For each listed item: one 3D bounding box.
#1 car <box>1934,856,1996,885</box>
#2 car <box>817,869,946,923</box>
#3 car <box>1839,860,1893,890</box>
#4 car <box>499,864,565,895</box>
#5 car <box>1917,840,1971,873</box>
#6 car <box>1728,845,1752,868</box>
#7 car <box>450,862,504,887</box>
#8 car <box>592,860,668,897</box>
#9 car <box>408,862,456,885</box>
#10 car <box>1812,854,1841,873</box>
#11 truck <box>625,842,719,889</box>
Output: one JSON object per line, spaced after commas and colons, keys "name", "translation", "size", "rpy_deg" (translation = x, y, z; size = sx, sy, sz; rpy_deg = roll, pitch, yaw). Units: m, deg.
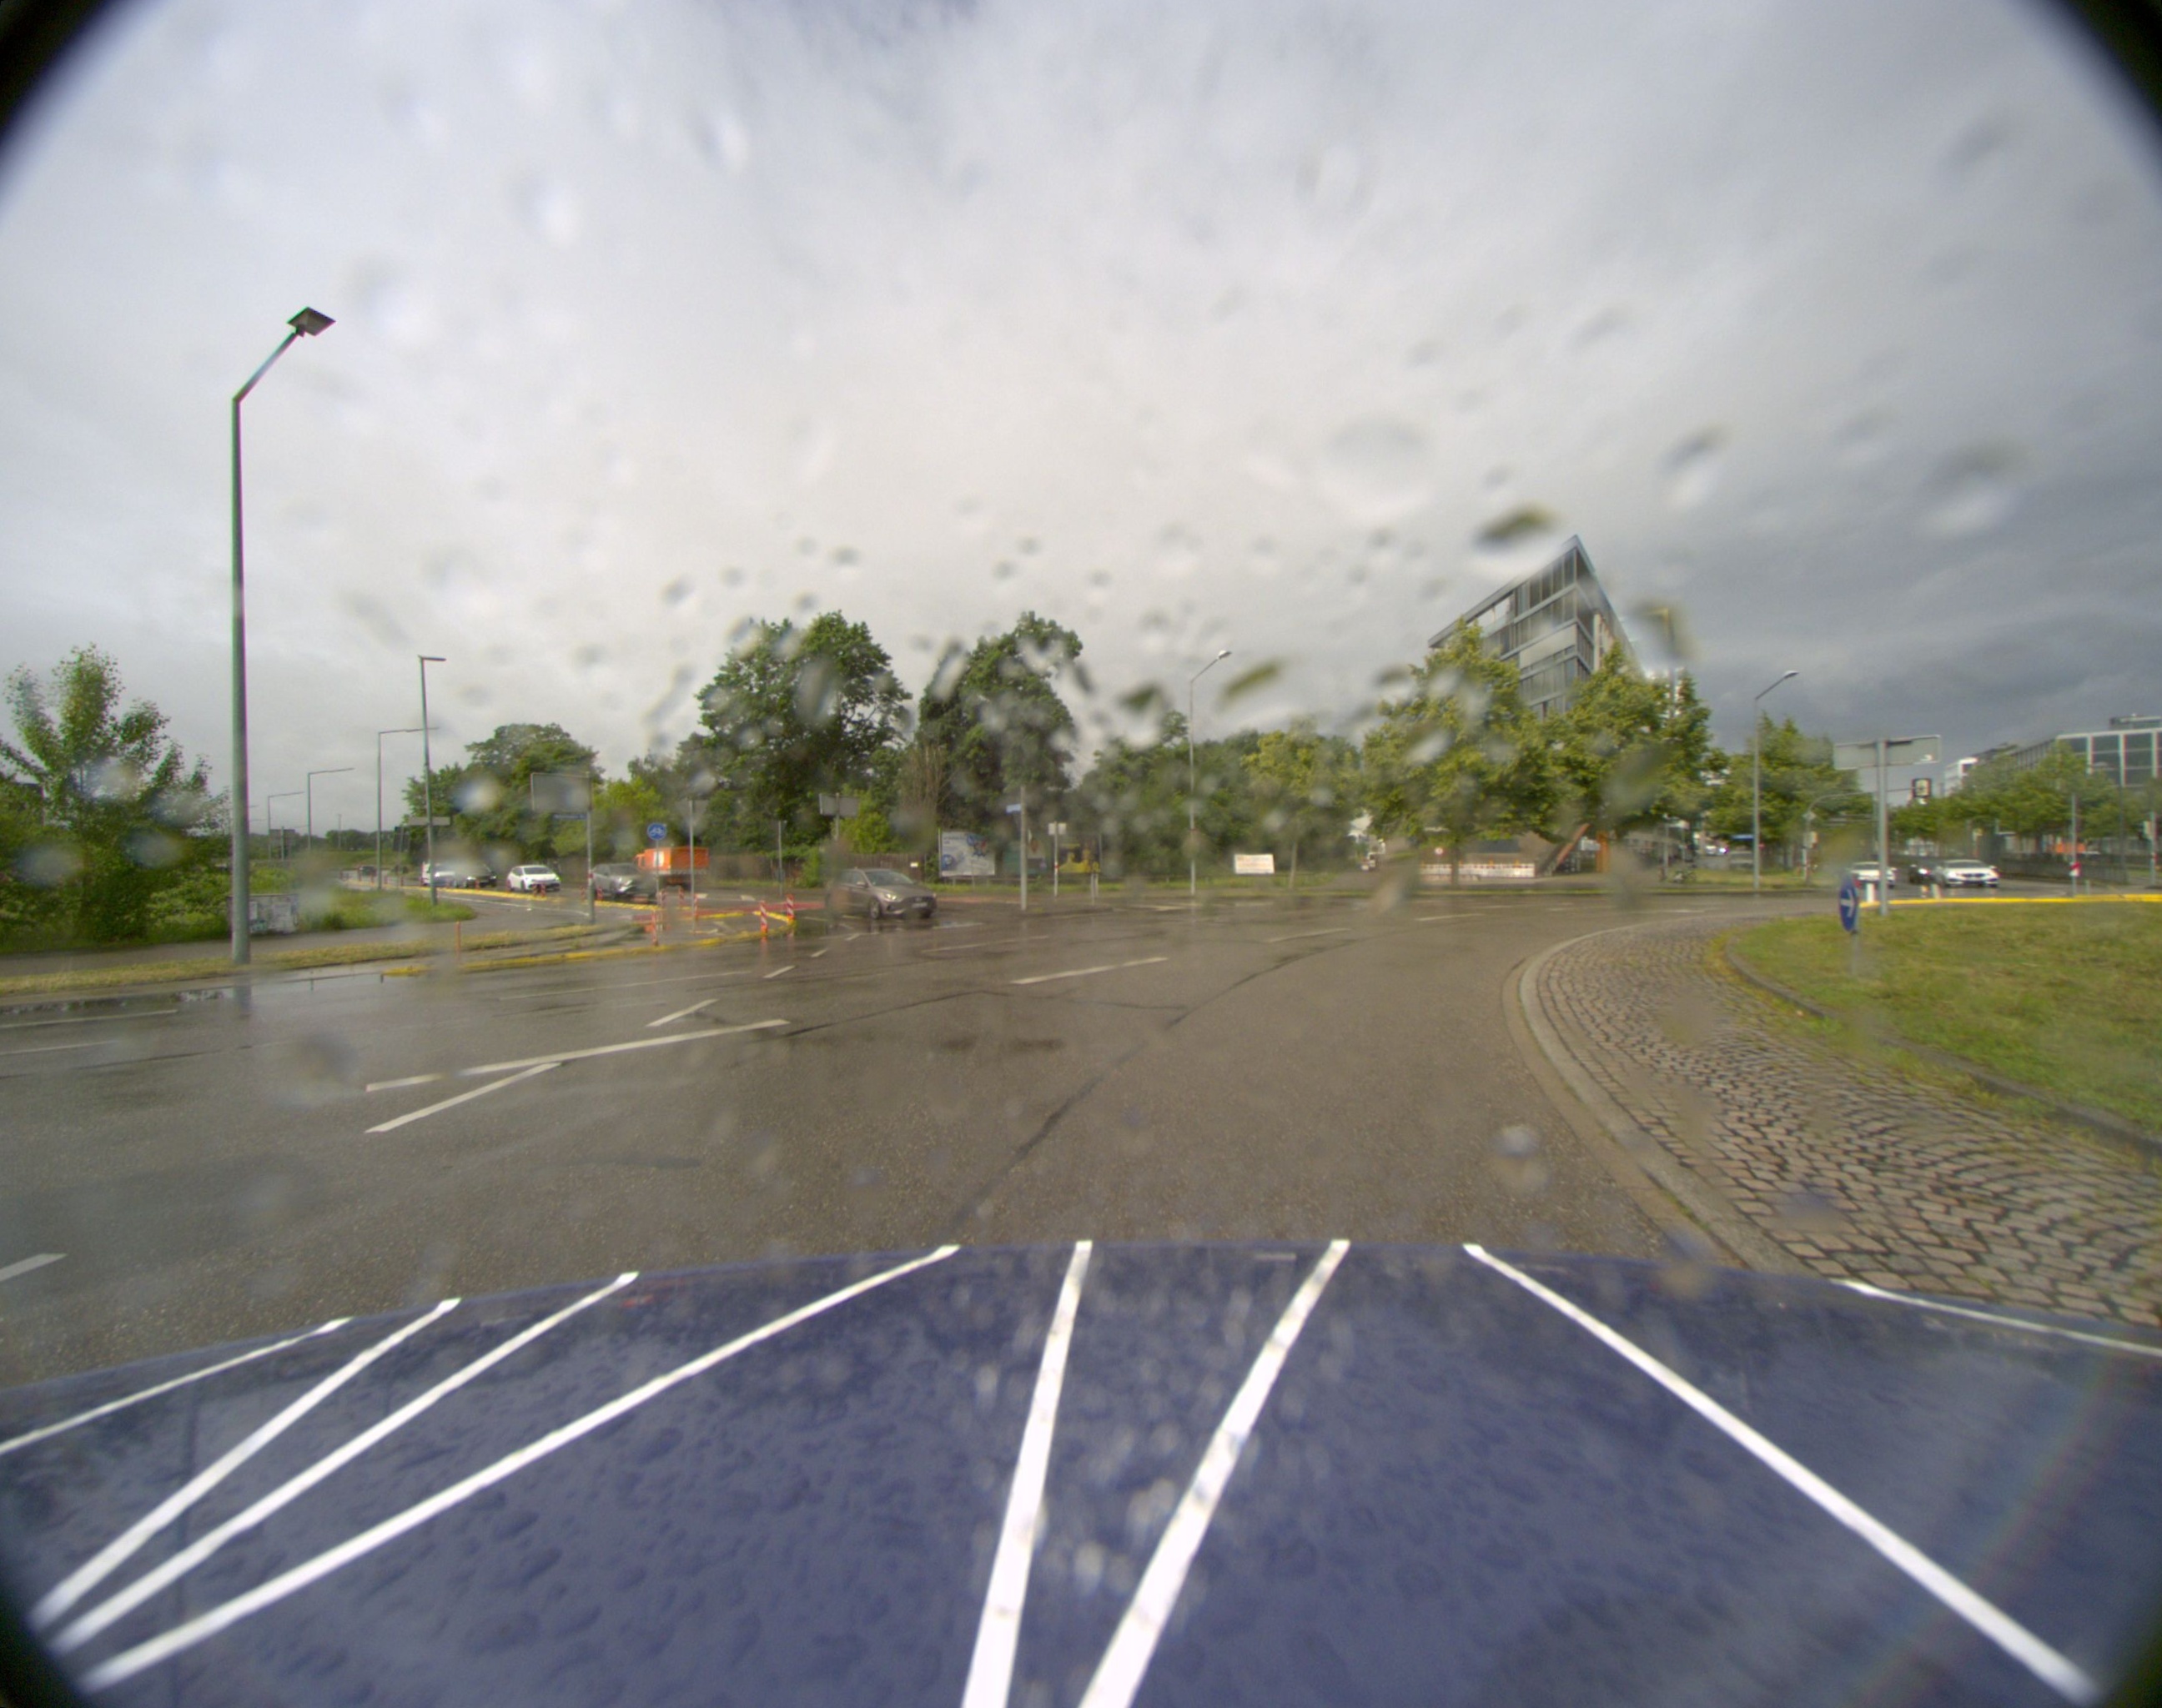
{"name": "car", "translation": [47.585, 0.860, 40.965], "size": [1.722, 1.499, 3.913], "rpy_deg": [-1, 0, 42]}
{"name": "car", "translation": [-6.000, 1.197, 22.599], "size": [4.116, 1.405, 1.739], "rpy_deg": [-2, 0, 43]}
{"name": "car", "translation": [45.525, 1.211, 44.156], "size": [1.861, 1.662, 4.481], "rpy_deg": [-1, -2, 42]}
{"name": "car", "translation": [-32.511, 1.486, 44.957], "size": [4.470, 1.654, 1.879], "rpy_deg": [-1, 2, 37]}
{"name": "car", "translation": [54.700, 0.166, 48.234], "size": [1.994, 2.002, 4.008], "rpy_deg": [-1, 0, 45]}
{"name": "car", "translation": [72.312, 0.302, 83.333], "size": [1.861, 2.345, 4.481], "rpy_deg": [-1, -1, 42]}
{"name": "car", "translation": [-42.953, 1.445, 54.019], "size": [4.470, 1.654, 1.879], "rpy_deg": [-1, 2, 37]}
{"name": "car", "translation": [-22.131, 1.163, 37.218], "size": [4.470, 1.653, 1.879], "rpy_deg": [-1, 1, 42]}
{"name": "car", "translation": [-51.082, 1.514, 59.786], "size": [4.470, 1.654, 1.879], "rpy_deg": [-1, 2, 37]}
{"name": "car", "translation": [71.116, 0.923, 72.519], "size": [1.861, 1.734, 4.095], "rpy_deg": [-1, -2, 42]}
{"name": "truck", "translation": [-25.234, 0.699, 46.729], "size": [6.926, 2.710, 2.467], "rpy_deg": [-1, 0, 38]}
